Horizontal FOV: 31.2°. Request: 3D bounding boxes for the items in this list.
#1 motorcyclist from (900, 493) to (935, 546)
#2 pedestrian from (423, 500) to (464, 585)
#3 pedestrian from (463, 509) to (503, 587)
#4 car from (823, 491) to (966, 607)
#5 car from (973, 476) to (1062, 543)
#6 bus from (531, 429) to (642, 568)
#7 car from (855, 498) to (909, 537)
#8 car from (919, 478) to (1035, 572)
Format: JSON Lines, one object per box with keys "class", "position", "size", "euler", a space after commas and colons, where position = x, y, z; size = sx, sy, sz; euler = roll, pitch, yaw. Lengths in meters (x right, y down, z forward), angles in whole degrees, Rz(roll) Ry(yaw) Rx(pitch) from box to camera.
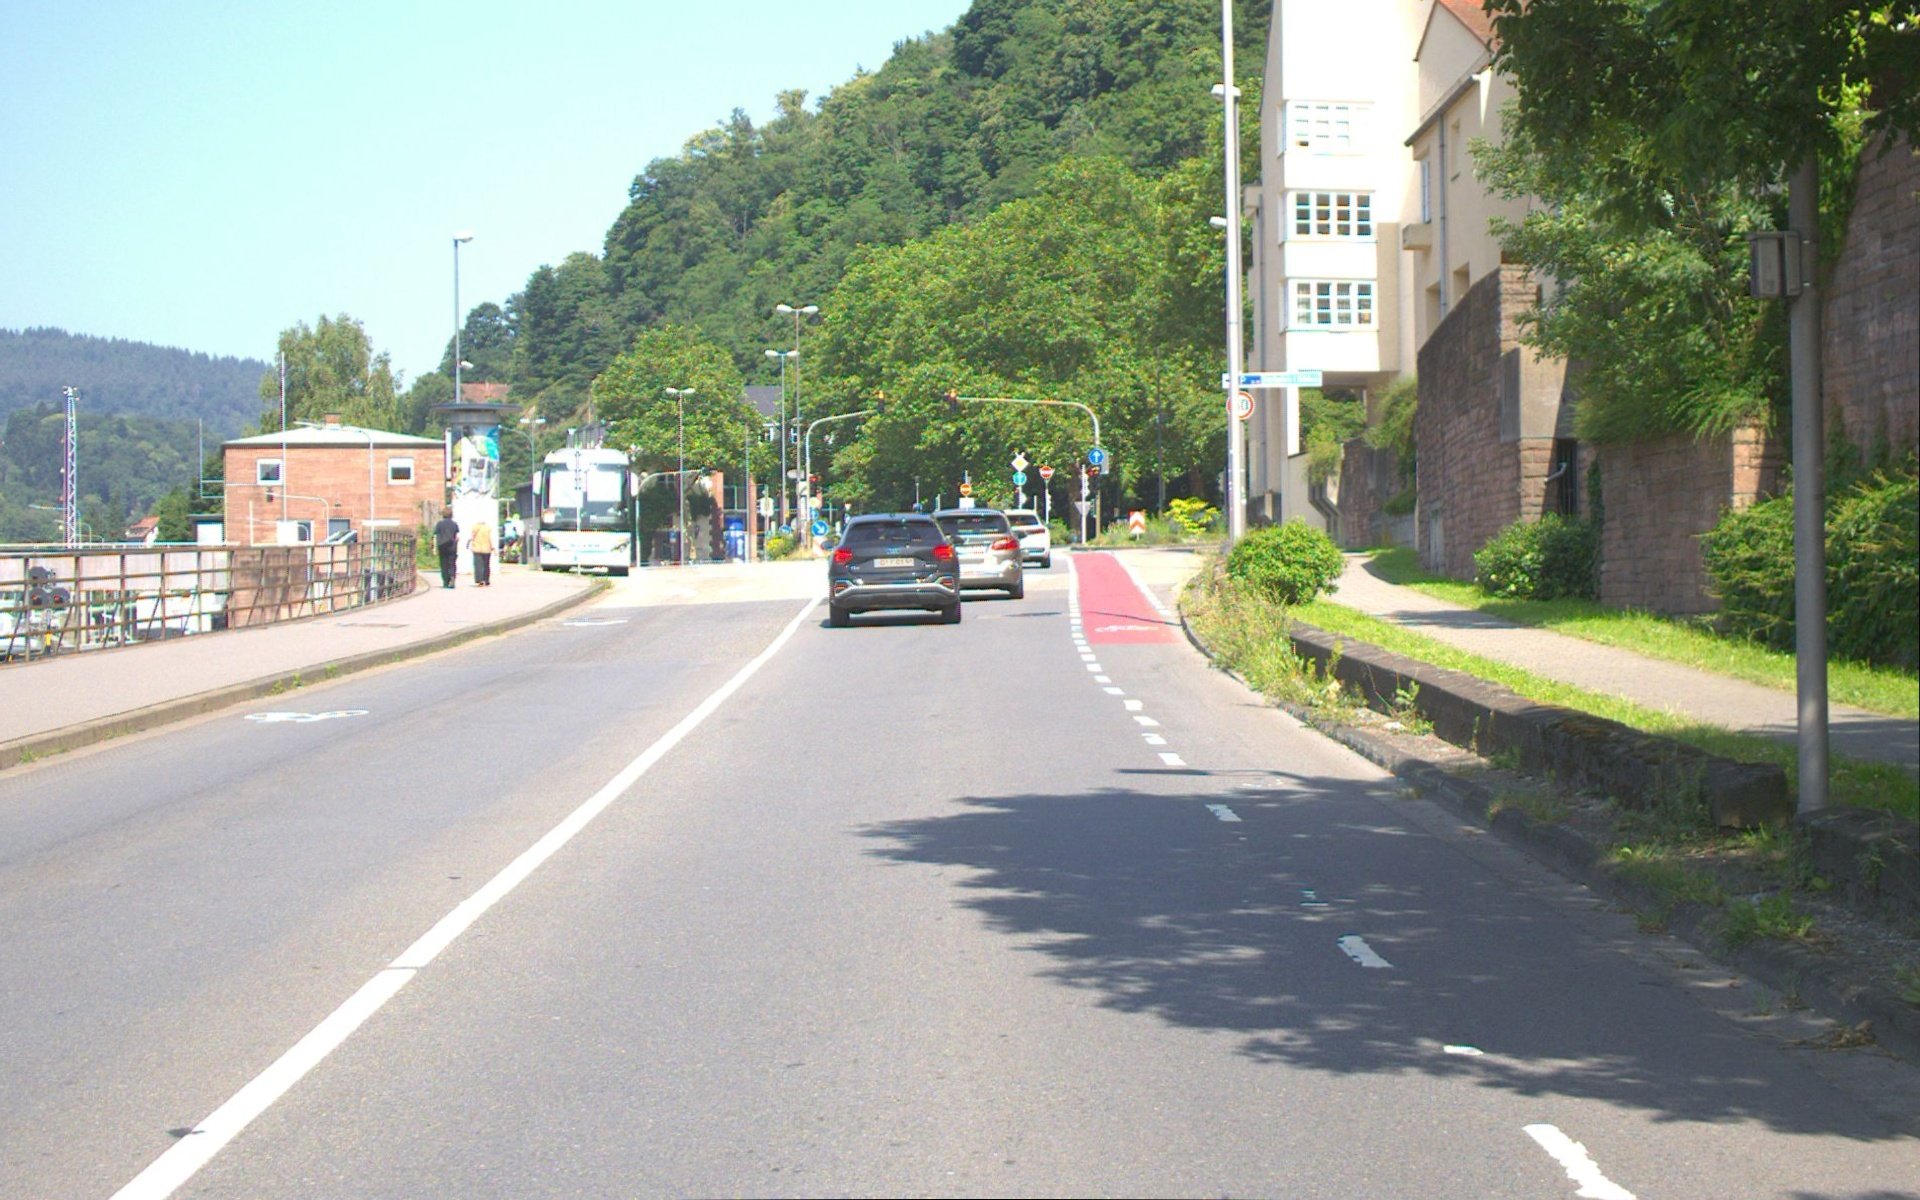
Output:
{"class": "motorcyclist", "position": [-1.414, -2.663, 113.564], "size": [1.075, 1.678, 1.156], "euler": [-2, 1, -1]}
{"class": "pedestrian", "position": [-10.640, -1.184, 70.782], "size": [0.683, 1.703, 0.773], "euler": [-2, 1, 0]}
{"class": "pedestrian", "position": [-10.109, -1.100, 72.880], "size": [0.702, 1.615, 0.817], "euler": [-2, 1, -2]}
{"class": "car", "position": [-0.870, -0.713, 47.397], "size": [1.869, 1.508, 4.151], "euler": [-1, 1, 0]}
{"class": "car", "position": [1.344, -2.144, 82.288], "size": [1.993, 1.528, 4.859], "euler": [-1, 1, 0]}
{"class": "bus", "position": [-11.019, -2.949, 102.153], "size": [2.956, 3.787, 13.247], "euler": [-2, 1, -5]}
{"class": "car", "position": [-2.916, -3.076, 127.676], "size": [1.866, 1.354, 4.001], "euler": [-3, 2, -3]}
{"class": "car", "position": [0.272, -1.271, 58.556], "size": [1.888, 1.516, 4.306], "euler": [-1, 1, 0]}
